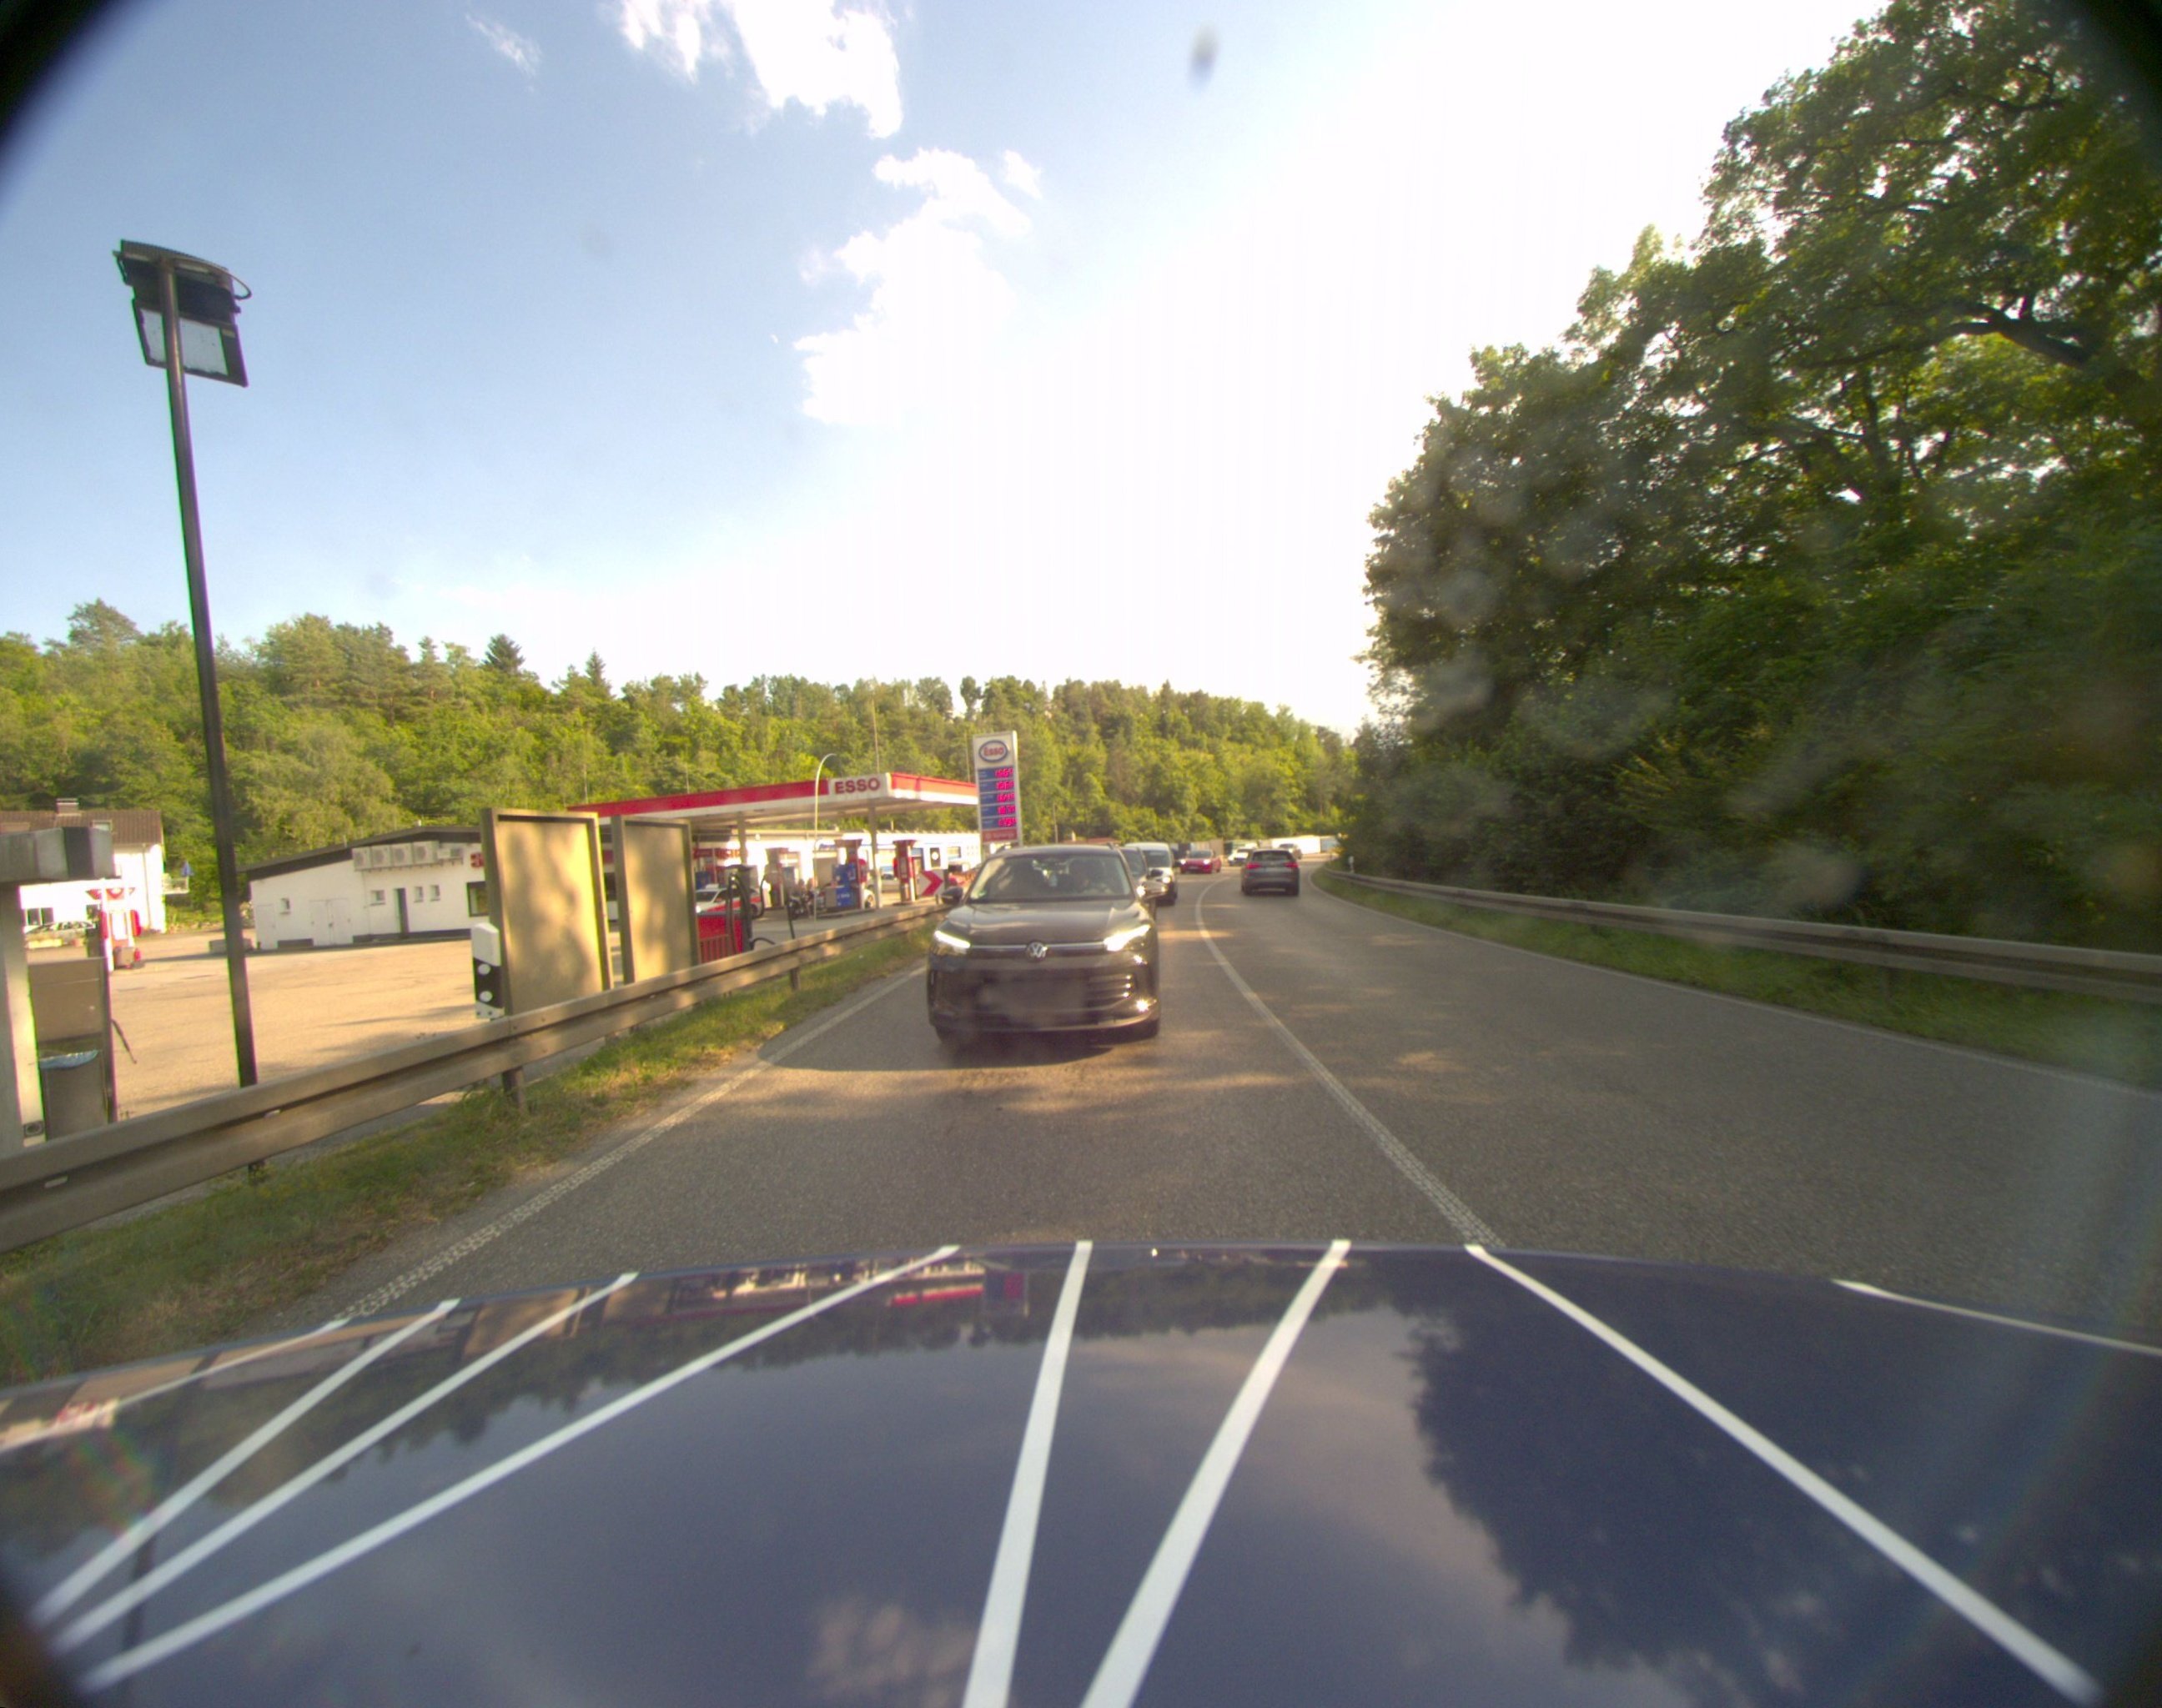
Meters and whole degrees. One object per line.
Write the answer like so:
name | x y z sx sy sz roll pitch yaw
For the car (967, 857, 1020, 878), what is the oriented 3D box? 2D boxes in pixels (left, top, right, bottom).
car | -7.756 1.190 67.764 4.254 1.719 1.893 -1 1 12

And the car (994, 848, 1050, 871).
car | -6.298 0.581 81.060 5.481 2.261 2.297 -1 1 15

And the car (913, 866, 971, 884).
car | -11.048 1.677 60.505 4.072 1.340 1.896 -1 1 15

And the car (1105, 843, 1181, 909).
car | 1.956 0.585 22.627 1.866 1.710 4.766 -1 0 9

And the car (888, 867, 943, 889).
car | -12.264 1.804 56.319 3.555 1.398 1.692 -3 1 15

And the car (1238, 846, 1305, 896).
car | 6.487 0.555 26.214 1.871 1.555 4.003 -2 -1 9

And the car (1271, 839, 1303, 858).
car | 19.582 -0.536 72.132 1.856 1.587 4.544 -4 0 28

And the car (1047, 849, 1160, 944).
car | 0.595 0.731 15.246 1.847 1.561 4.259 -2 1 7

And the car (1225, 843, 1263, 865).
car | 12.602 -0.051 58.605 1.912 1.457 4.543 -4 0 24

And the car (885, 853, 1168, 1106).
car | -0.205 0.854 7.342 1.859 1.630 4.442 -2 0 4

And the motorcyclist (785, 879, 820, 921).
motorcyclist | -11.344 1.856 30.947 0.859 1.595 0.928 -3 1 14

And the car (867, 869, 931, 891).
car | -12.902 1.854 53.829 3.963 1.347 1.778 -2 1 11

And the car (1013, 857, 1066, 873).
car | -3.975 1.092 73.505 4.727 1.426 1.959 -1 1 13

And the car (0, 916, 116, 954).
car | -65.097 5.078 47.841 2.694 1.826 5.175 -4 0 41

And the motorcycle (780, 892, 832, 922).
motorcycle | -11.259 2.155 31.184 0.763 1.006 2.343 -3 1 14

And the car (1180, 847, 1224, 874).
car | 7.364 0.359 45.972 1.857 1.412 4.424 -4 0 18

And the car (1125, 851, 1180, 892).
car | 3.073 0.692 31.930 1.895 1.437 4.478 -4 0 10

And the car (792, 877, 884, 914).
car | -10.982 1.865 34.723 1.845 1.311 4.394 -3 0 15

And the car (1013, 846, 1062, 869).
car | -4.831 0.409 84.619 4.915 2.435 2.209 -1 1 13

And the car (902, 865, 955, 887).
car | -11.708 1.678 58.475 3.549 1.437 1.735 -3 1 15

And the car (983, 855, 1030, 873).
car | -7.512 1.011 76.455 4.246 1.601 1.896 -2 1 15

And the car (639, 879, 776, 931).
car | -15.073 2.010 31.074 2.095 1.618 5.185 -3 0 14
